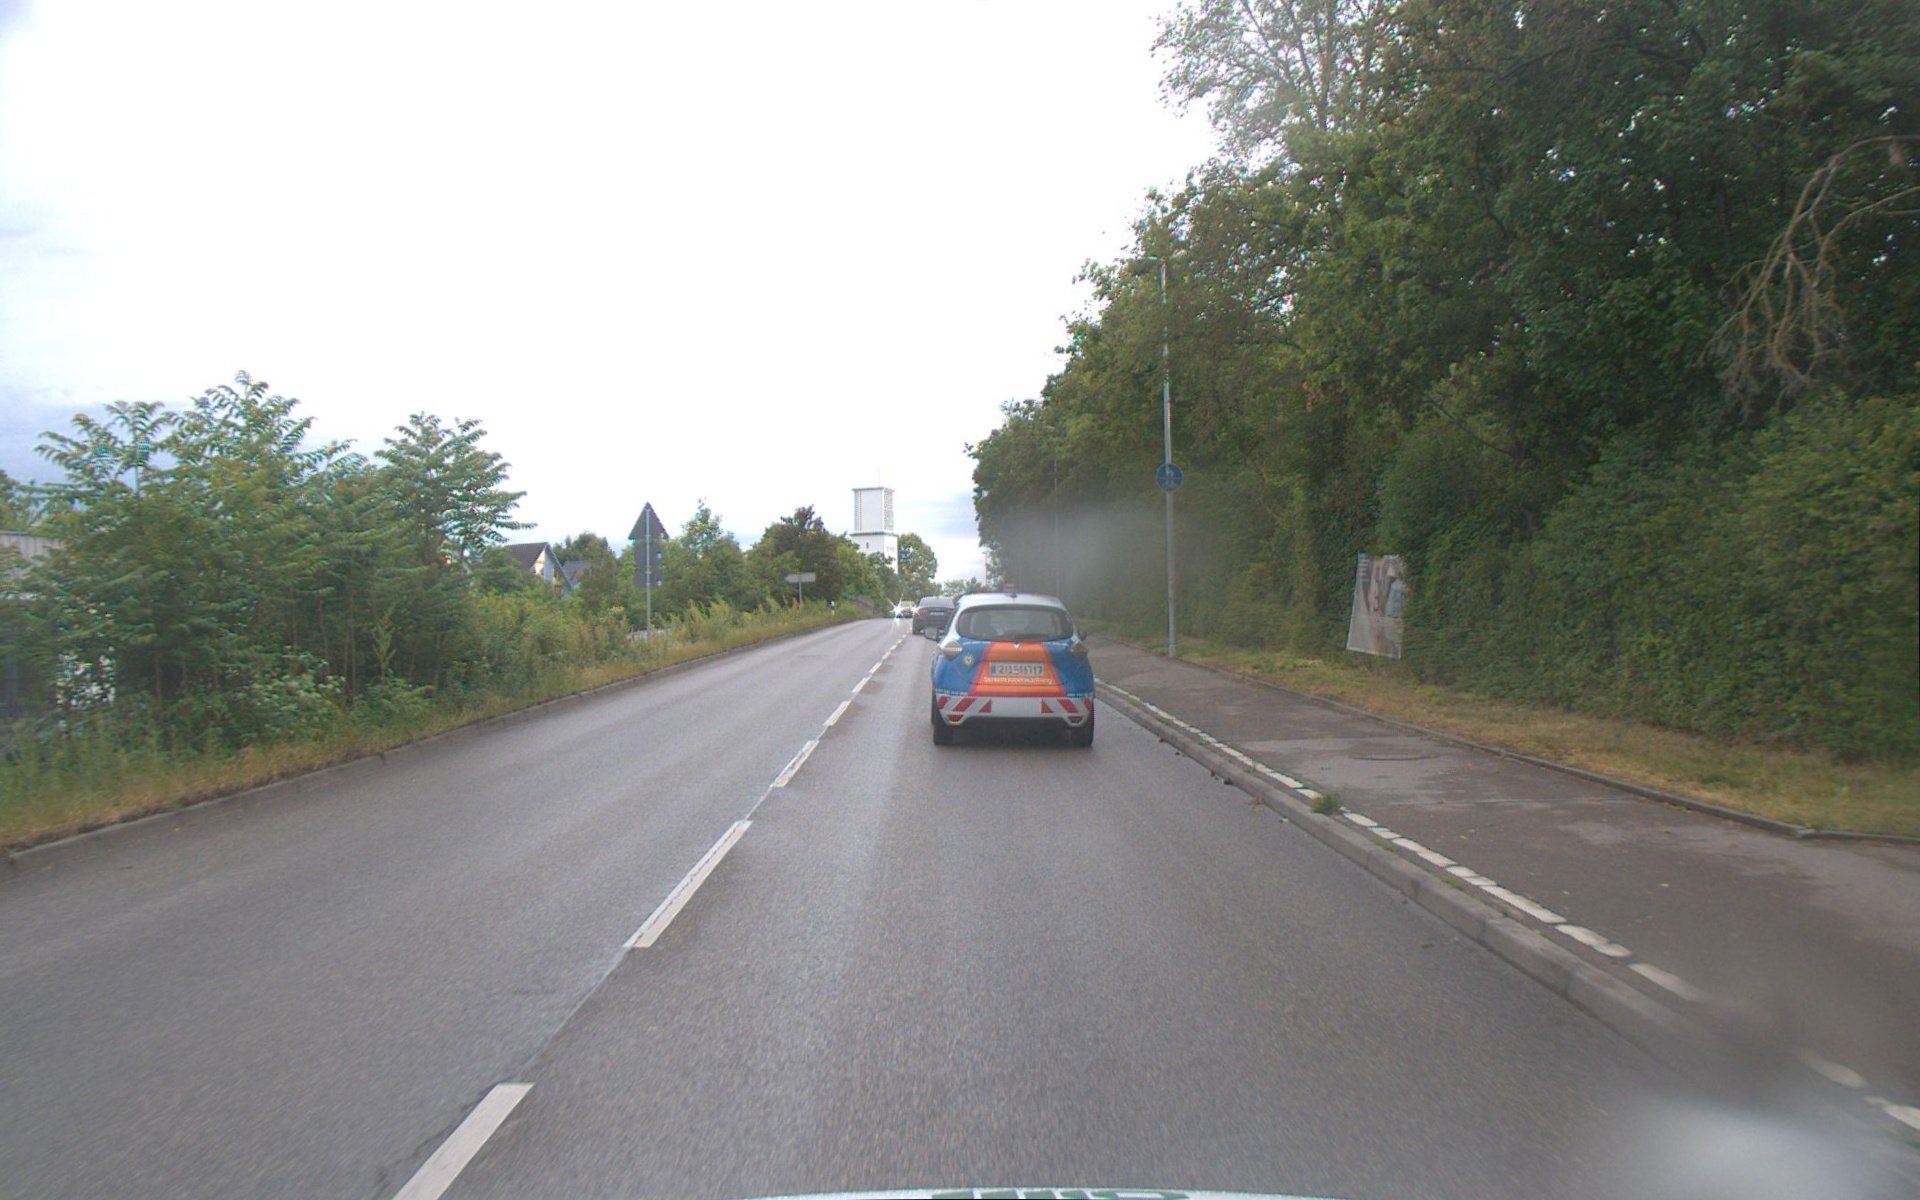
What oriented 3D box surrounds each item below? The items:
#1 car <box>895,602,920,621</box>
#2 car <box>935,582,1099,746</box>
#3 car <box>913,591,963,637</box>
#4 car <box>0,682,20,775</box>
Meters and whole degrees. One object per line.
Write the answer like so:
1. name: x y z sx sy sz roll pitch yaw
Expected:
1. car: -4.650 0.971 146.580 1.830 1.613 4.416 1 0 2
2. car: 0.545 0.674 18.259 1.623 1.621 3.567 0 -1 -1
3. car: -0.851 0.522 61.869 1.766 1.618 3.562 -2 -1 -2
4. car: -21.366 2.812 33.918 4.549 1.834 1.861 -6 0 37
